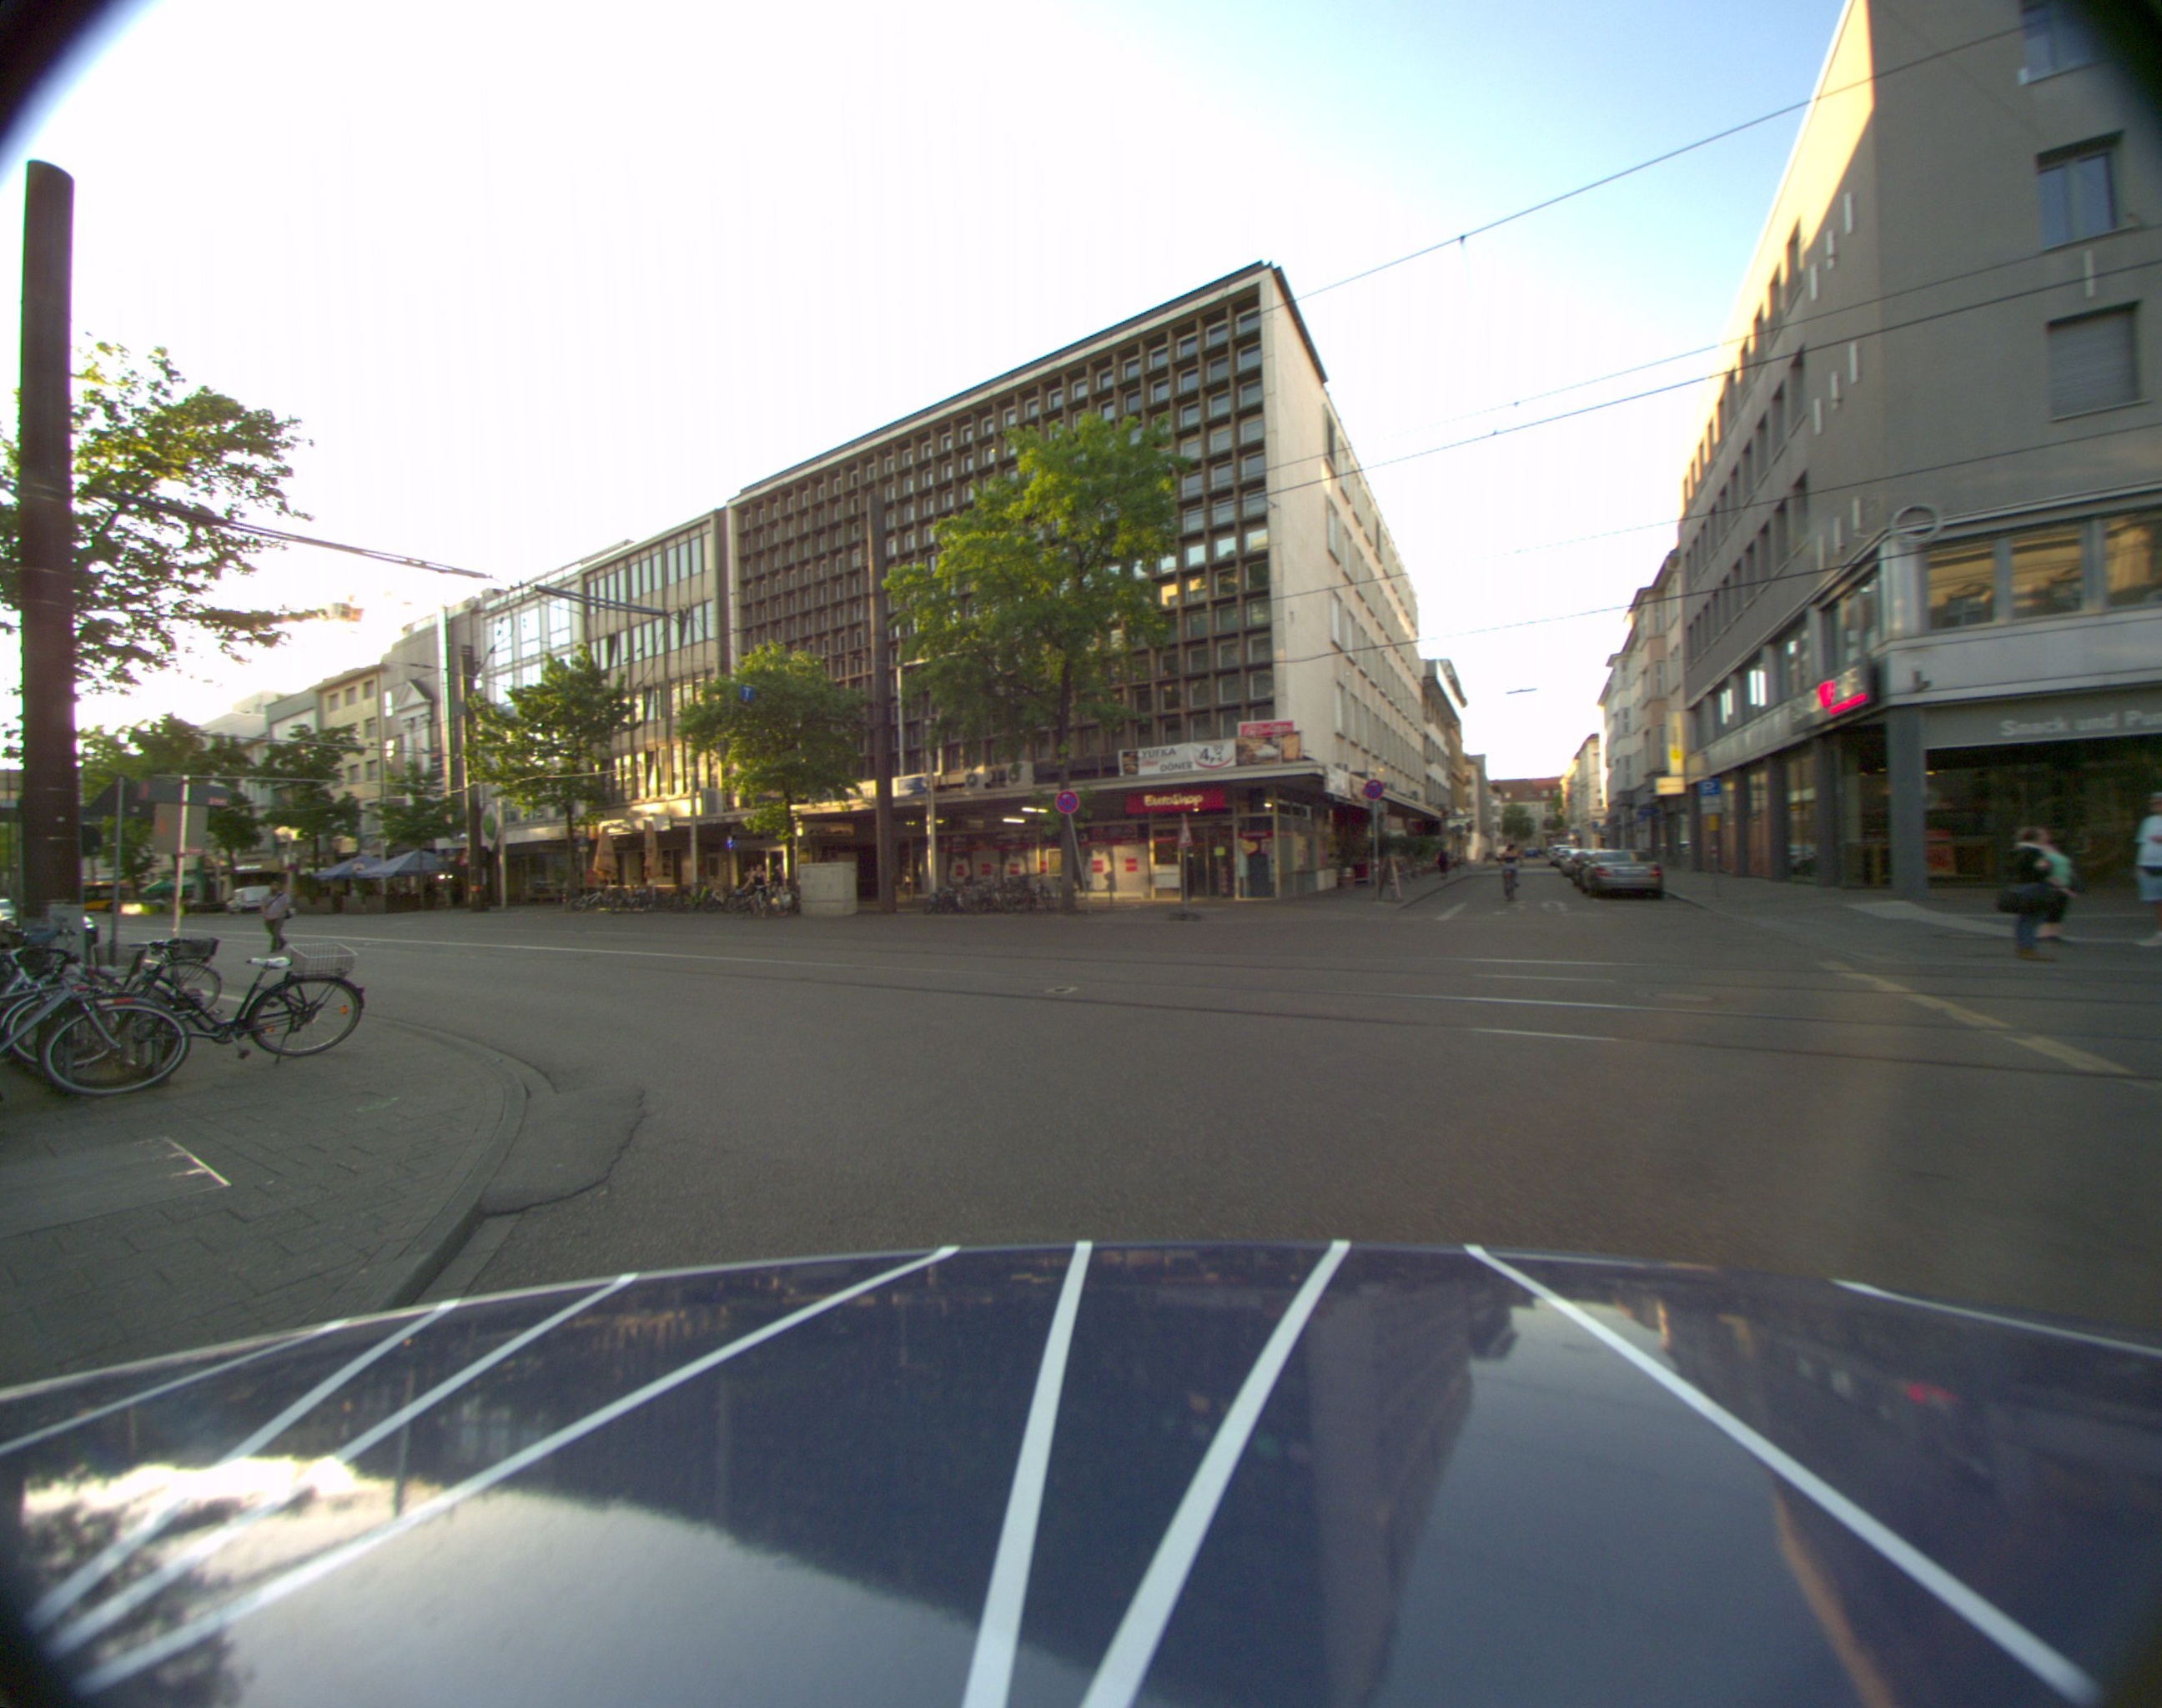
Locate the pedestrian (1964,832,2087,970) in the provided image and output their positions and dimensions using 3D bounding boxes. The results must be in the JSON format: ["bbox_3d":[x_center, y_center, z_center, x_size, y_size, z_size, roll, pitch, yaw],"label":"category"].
[{"bbox_3d":[11.005,0.521,8.869,0.605,1.533,0.686,-1,0,-10],"label":"pedestrian"}]

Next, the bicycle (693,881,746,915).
[{"bbox_3d":[-13.373,1.621,28.154,0.488,1.065,1.780,-3,1,25],"label":"bicycle"}]

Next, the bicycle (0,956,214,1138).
[{"bbox_3d":[-7.542,1.368,5.301,0.665,1.102,1.862,-2,-2,29],"label":"bicycle"}]

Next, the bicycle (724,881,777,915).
[{"bbox_3d":[-11.848,1.568,27.275,0.488,1.065,1.780,-3,1,25],"label":"bicycle"}]

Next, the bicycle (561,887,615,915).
[{"bbox_3d":[-20.642,1.959,31.818,1.781,0.960,0.488,-4,3,-42],"label":"bicycle"}]

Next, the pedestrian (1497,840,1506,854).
[{"bbox_3d":[51.825,-0.903,93.549,0.869,1.651,0.932,-3,0,31],"label":"pedestrian"}]

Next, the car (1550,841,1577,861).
[{"bbox_3d":[39.422,-0.263,62.125,1.795,1.501,4.008,-1,0,32],"label":"car"}]

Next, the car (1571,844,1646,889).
[{"bbox_3d":[19.439,0.419,28.163,1.795,1.501,4.141,-1,0,28],"label":"car"}]

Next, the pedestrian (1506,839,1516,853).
[{"bbox_3d":[52.630,-0.930,92.993,0.975,1.651,0.980,-3,0,31],"label":"pedestrian"}]

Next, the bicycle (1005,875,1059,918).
[{"bbox_3d":[-1.329,1.159,20.939,0.488,1.039,1.780,-3,1,31],"label":"bicycle"}]

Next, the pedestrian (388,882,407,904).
[{"bbox_3d":[-47.256,2.665,52.530,0.641,1.427,0.664,-1,5,31],"label":"pedestrian"}]

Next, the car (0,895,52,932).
[{"bbox_3d":[-63.277,3.524,45.241,3.990,2.001,2.004,-2,-1,31],"label":"car"}]

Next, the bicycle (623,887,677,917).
[{"bbox_3d":[-16.636,1.848,29.374,0.488,0.984,1.780,-3,1,25],"label":"bicycle"}]

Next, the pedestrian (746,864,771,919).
[{"bbox_3d":[-10.186,1.181,24.000,0.604,1.689,0.535,-3,1,-30],"label":"pedestrian"}]

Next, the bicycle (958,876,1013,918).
[{"bbox_3d":[-2.717,1.207,21.806,0.488,1.039,1.780,-3,1,31],"label":"bicycle"}]

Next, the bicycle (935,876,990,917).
[{"bbox_3d":[-3.432,1.219,22.206,0.488,1.039,1.780,-3,1,31],"label":"bicycle"}]

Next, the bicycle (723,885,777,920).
[{"bbox_3d":[-10.359,1.531,23.770,1.773,1.039,0.490,-3,0,28],"label":"bicycle"}]

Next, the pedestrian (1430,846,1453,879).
[{"bbox_3d":[18.513,0.435,39.045,0.869,1.651,0.932,-3,0,34],"label":"pedestrian"}]

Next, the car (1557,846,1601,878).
[{"bbox_3d":[25.691,0.396,39.285,1.795,1.501,4.008,-1,0,32],"label":"car"}]

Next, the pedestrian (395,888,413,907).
[{"bbox_3d":[-45.323,2.905,50.848,0.664,1.150,0.644,-1,3,29],"label":"pedestrian"}]

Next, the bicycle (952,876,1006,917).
[{"bbox_3d":[-2.924,1.206,21.932,0.488,1.039,1.780,-3,1,31],"label":"bicycle"}]

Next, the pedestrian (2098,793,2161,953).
[{"bbox_3d":[13.404,0.222,9.377,0.708,1.915,0.777,-1,0,23],"label":"pedestrian"}]

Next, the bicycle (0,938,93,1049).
[{"bbox_3d":[-12.171,1.535,8.025,0.724,1.148,2.006,-2,-2,26],"label":"bicycle"}]

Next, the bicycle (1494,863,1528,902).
[{"bbox_3d":[12.958,0.844,22.897,0.815,1.067,2.117,-3,-1,30],"label":"bicycle"}]

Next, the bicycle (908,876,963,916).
[{"bbox_3d":[-4.341,1.255,22.752,0.488,1.039,1.780,-3,1,31],"label":"bicycle"}]

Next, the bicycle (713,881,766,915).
[{"bbox_3d":[-12.344,1.586,27.505,0.488,1.065,1.780,-3,1,25],"label":"bicycle"}]

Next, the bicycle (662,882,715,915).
[{"bbox_3d":[-14.968,1.677,29.018,0.488,1.065,1.780,-3,1,25],"label":"bicycle"}]

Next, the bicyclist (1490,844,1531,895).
[{"bbox_3d":[12.941,0.462,22.910,0.997,1.493,0.859,-3,0,30],"label":"bicyclist"}]

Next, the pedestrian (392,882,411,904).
[{"bbox_3d":[-46.634,2.643,52.174,0.641,1.427,0.664,-1,5,31],"label":"pedestrian"}]

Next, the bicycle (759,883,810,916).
[{"bbox_3d":[-9.868,1.506,25.247,1.773,1.039,0.490,-3,0,28],"label":"bicycle"}]

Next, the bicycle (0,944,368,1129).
[{"bbox_3d":[-7.246,1.389,6.269,0.665,1.102,1.862,-2,-2,29],"label":"bicycle"}]

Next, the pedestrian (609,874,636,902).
[{"bbox_3d":[-22.461,1.669,37.233,0.910,1.318,0.673,-2,3,29],"label":"pedestrian"}]

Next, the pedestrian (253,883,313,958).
[{"bbox_3d":[-20.402,1.680,19.419,0.988,1.783,0.824,-2,3,37],"label":"pedestrian"}]

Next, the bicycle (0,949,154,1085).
[{"bbox_3d":[-9.631,1.446,6.566,0.761,1.071,1.925,-2,-2,26],"label":"bicycle"}]

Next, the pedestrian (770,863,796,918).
[{"bbox_3d":[-9.472,1.153,24.123,0.604,1.689,0.535,-3,1,-30],"label":"pedestrian"}]

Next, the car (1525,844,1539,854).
[{"bbox_3d":[69.789,-0.793,117.563,1.795,1.501,4.008,-1,0,32],"label":"car"}]

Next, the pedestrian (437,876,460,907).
[{"bbox_3d":[-38.097,2.244,45.795,0.988,1.783,0.687,-2,3,33],"label":"pedestrian"}]

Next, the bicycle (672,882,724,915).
[{"bbox_3d":[-14.463,1.659,28.742,0.488,1.065,1.780,-3,1,25],"label":"bicycle"}]

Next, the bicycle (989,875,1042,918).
[{"bbox_3d":[-1.808,1.171,21.266,0.488,1.039,1.780,-3,1,31],"label":"bicycle"}]

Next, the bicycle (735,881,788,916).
[{"bbox_3d":[-11.293,1.549,26.935,0.488,1.065,1.780,-3,1,25],"label":"bicycle"}]

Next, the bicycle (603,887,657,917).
[{"bbox_3d":[-17.844,1.890,30.099,0.488,0.984,1.780,-3,1,25],"label":"bicycle"}]

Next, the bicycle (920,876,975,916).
[{"bbox_3d":[-3.922,1.228,22.499,0.488,1.039,1.780,-3,1,31],"label":"bicycle"}]

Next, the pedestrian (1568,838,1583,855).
[{"bbox_3d":[52.211,-0.792,80.212,0.931,1.651,0.870,-3,0,-21],"label":"pedestrian"}]

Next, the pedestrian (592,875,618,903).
[{"bbox_3d":[-23.596,1.716,37.652,0.910,1.318,0.673,-2,3,29],"label":"pedestrian"}]

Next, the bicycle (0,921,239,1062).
[{"bbox_3d":[-10.845,1.449,8.399,0.724,1.324,1.925,-2,-2,26],"label":"bicycle"}]

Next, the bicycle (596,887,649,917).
[{"bbox_3d":[-18.301,1.906,30.360,0.488,0.984,1.780,-3,1,25],"label":"bicycle"}]

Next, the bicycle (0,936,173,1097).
[{"bbox_3d":[-8.995,1.341,6.183,0.761,1.215,1.925,-2,-2,26],"label":"bicycle"}]

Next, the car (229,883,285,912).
[{"bbox_3d":[-58.345,3.050,53.773,4.318,1.812,1.835,-3,3,32],"label":"car"}]

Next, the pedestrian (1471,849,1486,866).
[{"bbox_3d":[42.599,0.376,81.428,1.296,1.651,1.016,-3,0,33],"label":"pedestrian"}]

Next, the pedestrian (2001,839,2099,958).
[{"bbox_3d":[12.537,0.557,9.848,0.554,1.485,0.606,-1,0,23],"label":"pedestrian"}]

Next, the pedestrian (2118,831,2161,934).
[{"bbox_3d":[15.258,0.389,10.673,0.556,1.425,0.684,-1,0,-21],"label":"pedestrian"}]

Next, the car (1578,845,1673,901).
[{"bbox_3d":[16.349,0.524,23.019,1.795,1.501,4.141,-1,0,28],"label":"car"}]
